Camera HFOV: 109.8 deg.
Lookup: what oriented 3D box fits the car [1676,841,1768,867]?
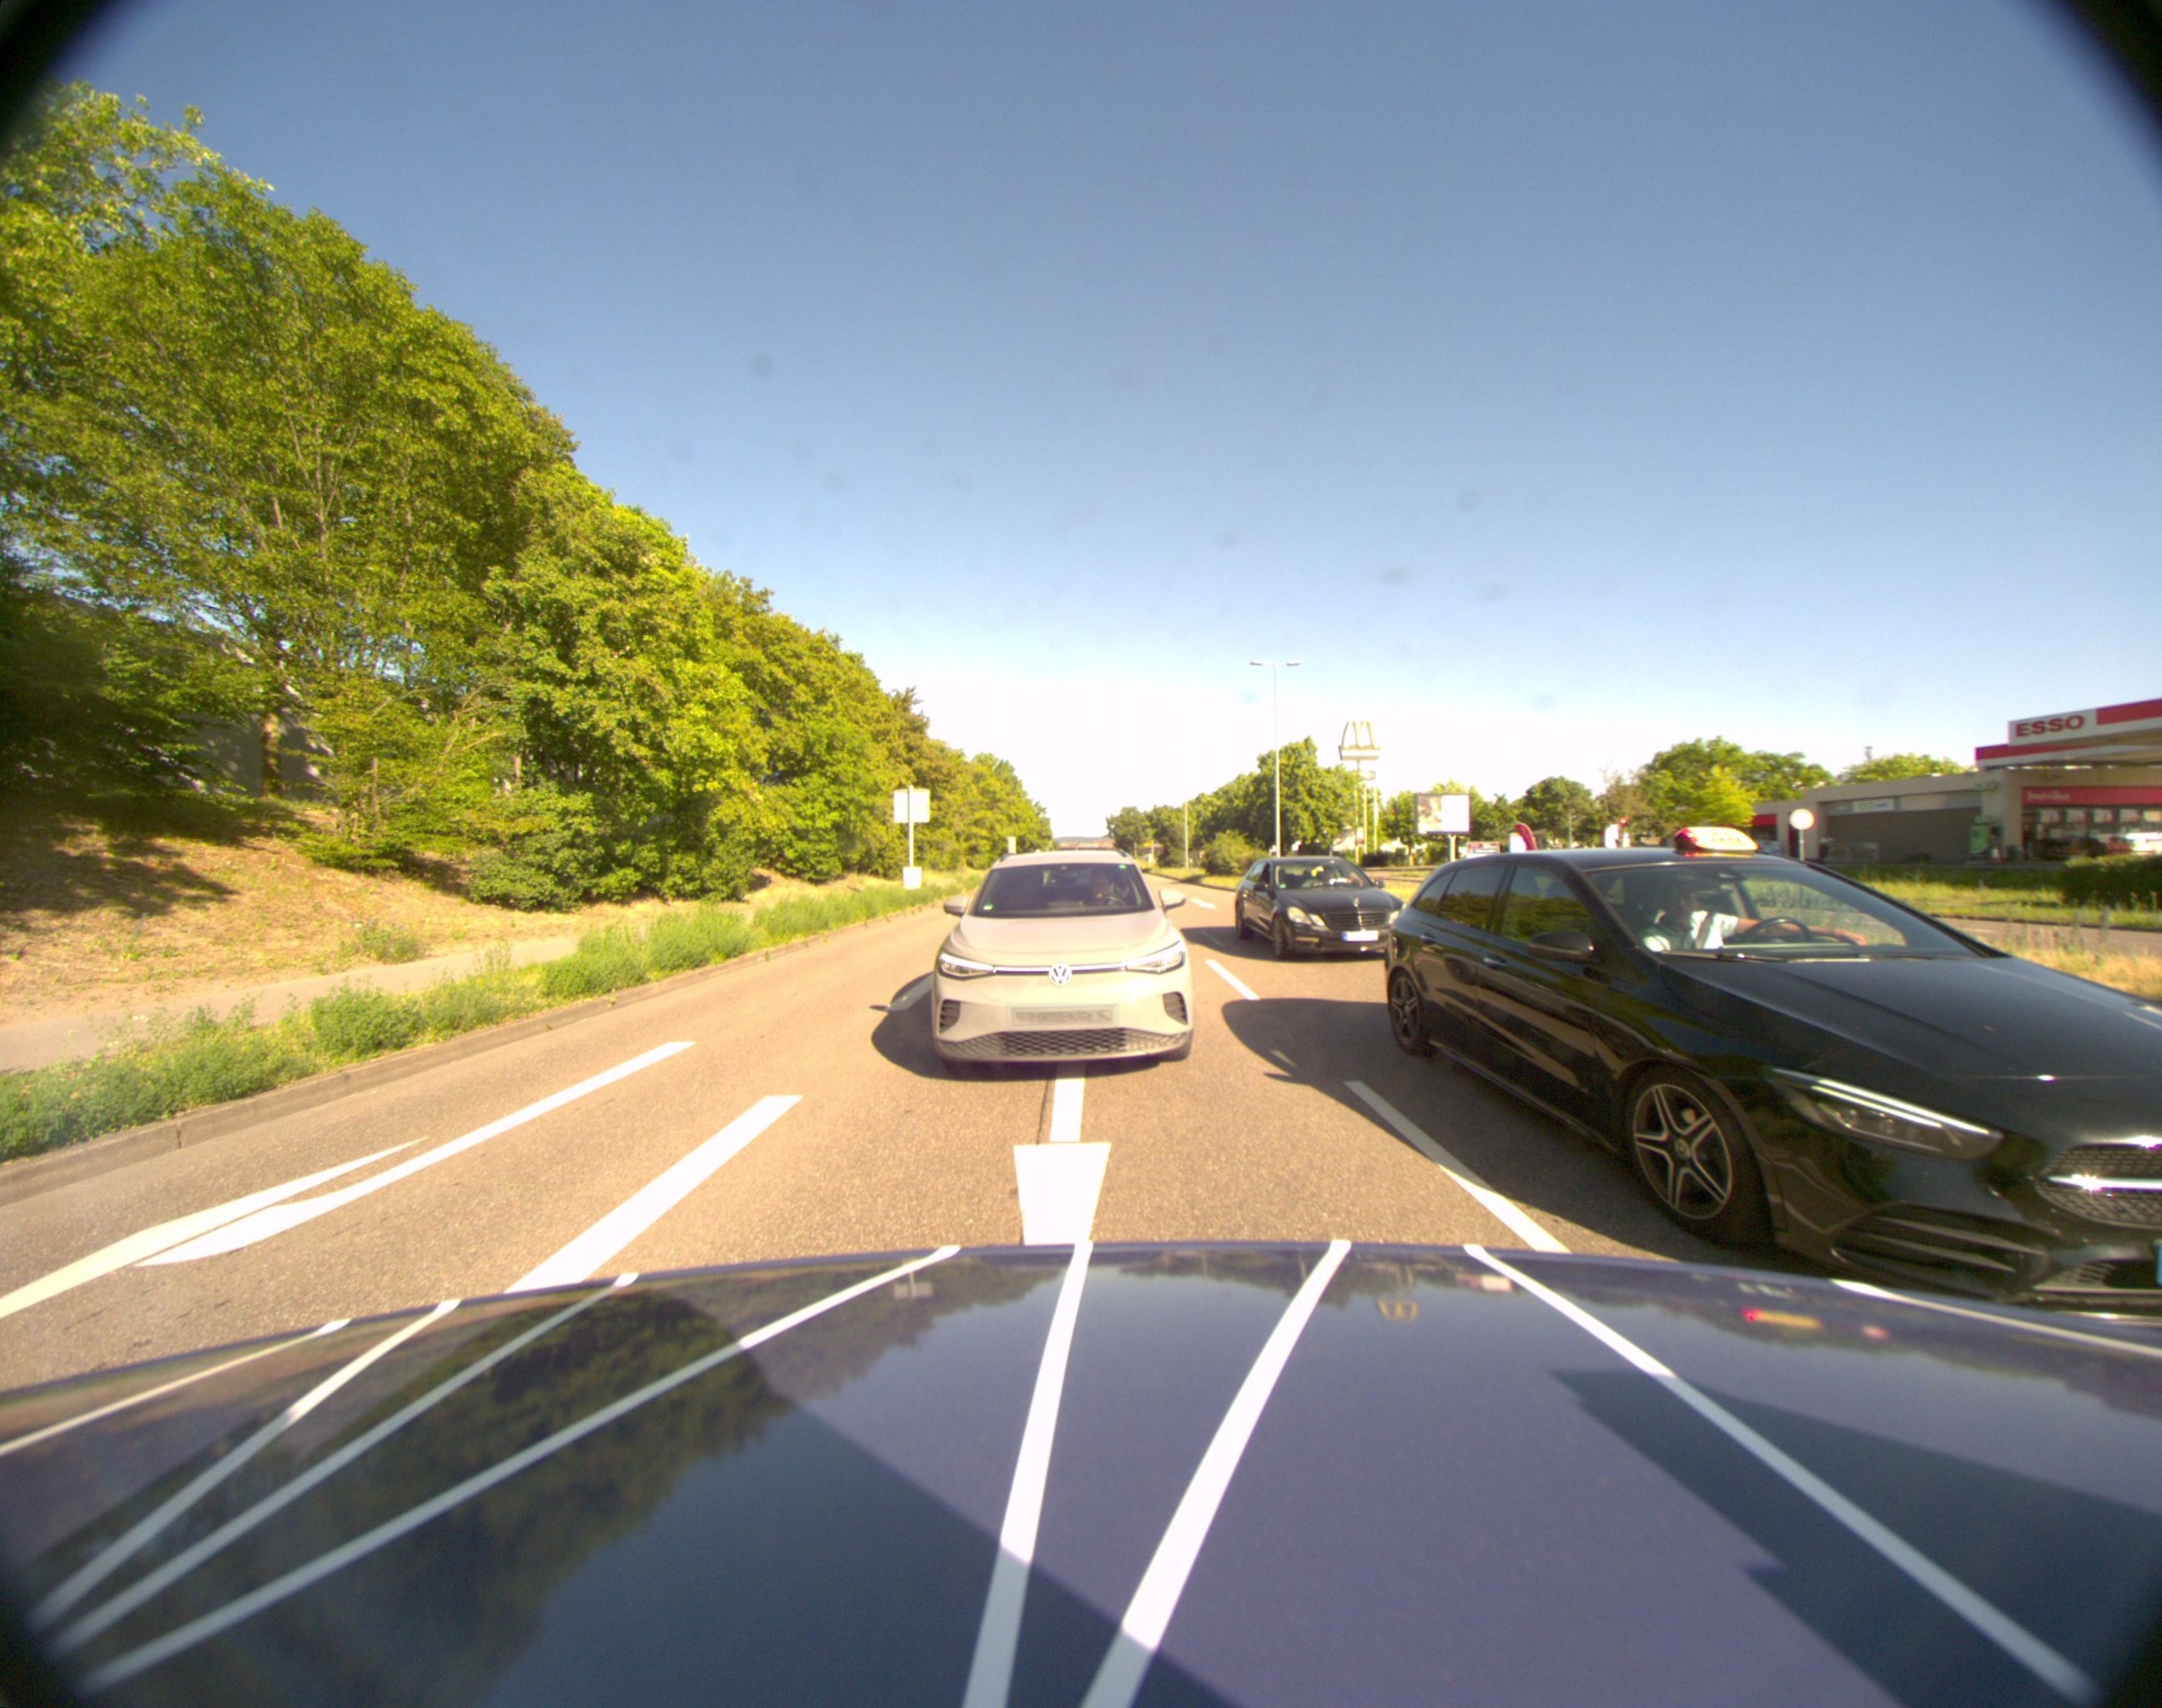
[{"bbox_3d":[36.936,0.006,43.923,1.998,1.397,4.000,-1,0,0],"label":"car"}]

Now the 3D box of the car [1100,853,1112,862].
[{"bbox_3d":[4.221,0.608,128.312,1.998,1.433,4.000,-1,0,1],"label":"car"}]

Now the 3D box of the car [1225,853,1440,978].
[{"bbox_3d":[3.679,0.799,12.062,1.953,1.501,4.462,-2,1,1],"label":"car"}]

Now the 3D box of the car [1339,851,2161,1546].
[{"bbox_3d":[3.080,0.810,4.080,1.788,1.592,4.583,-2,0,0],"label":"car"}]

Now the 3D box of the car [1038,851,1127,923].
[{"bbox_3d":[0.057,0.777,19.840,2.036,1.601,4.098,-2,0,1],"label":"car"}]

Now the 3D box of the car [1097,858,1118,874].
[{"bbox_3d":[2.661,1.175,77.115,1.998,1.434,4.000,-2,1,2],"label":"car"}]

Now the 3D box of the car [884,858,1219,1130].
[{"bbox_3d":[-0.158,0.879,6.766,2.025,1.601,4.098,-2,0,1],"label":"car"}]
